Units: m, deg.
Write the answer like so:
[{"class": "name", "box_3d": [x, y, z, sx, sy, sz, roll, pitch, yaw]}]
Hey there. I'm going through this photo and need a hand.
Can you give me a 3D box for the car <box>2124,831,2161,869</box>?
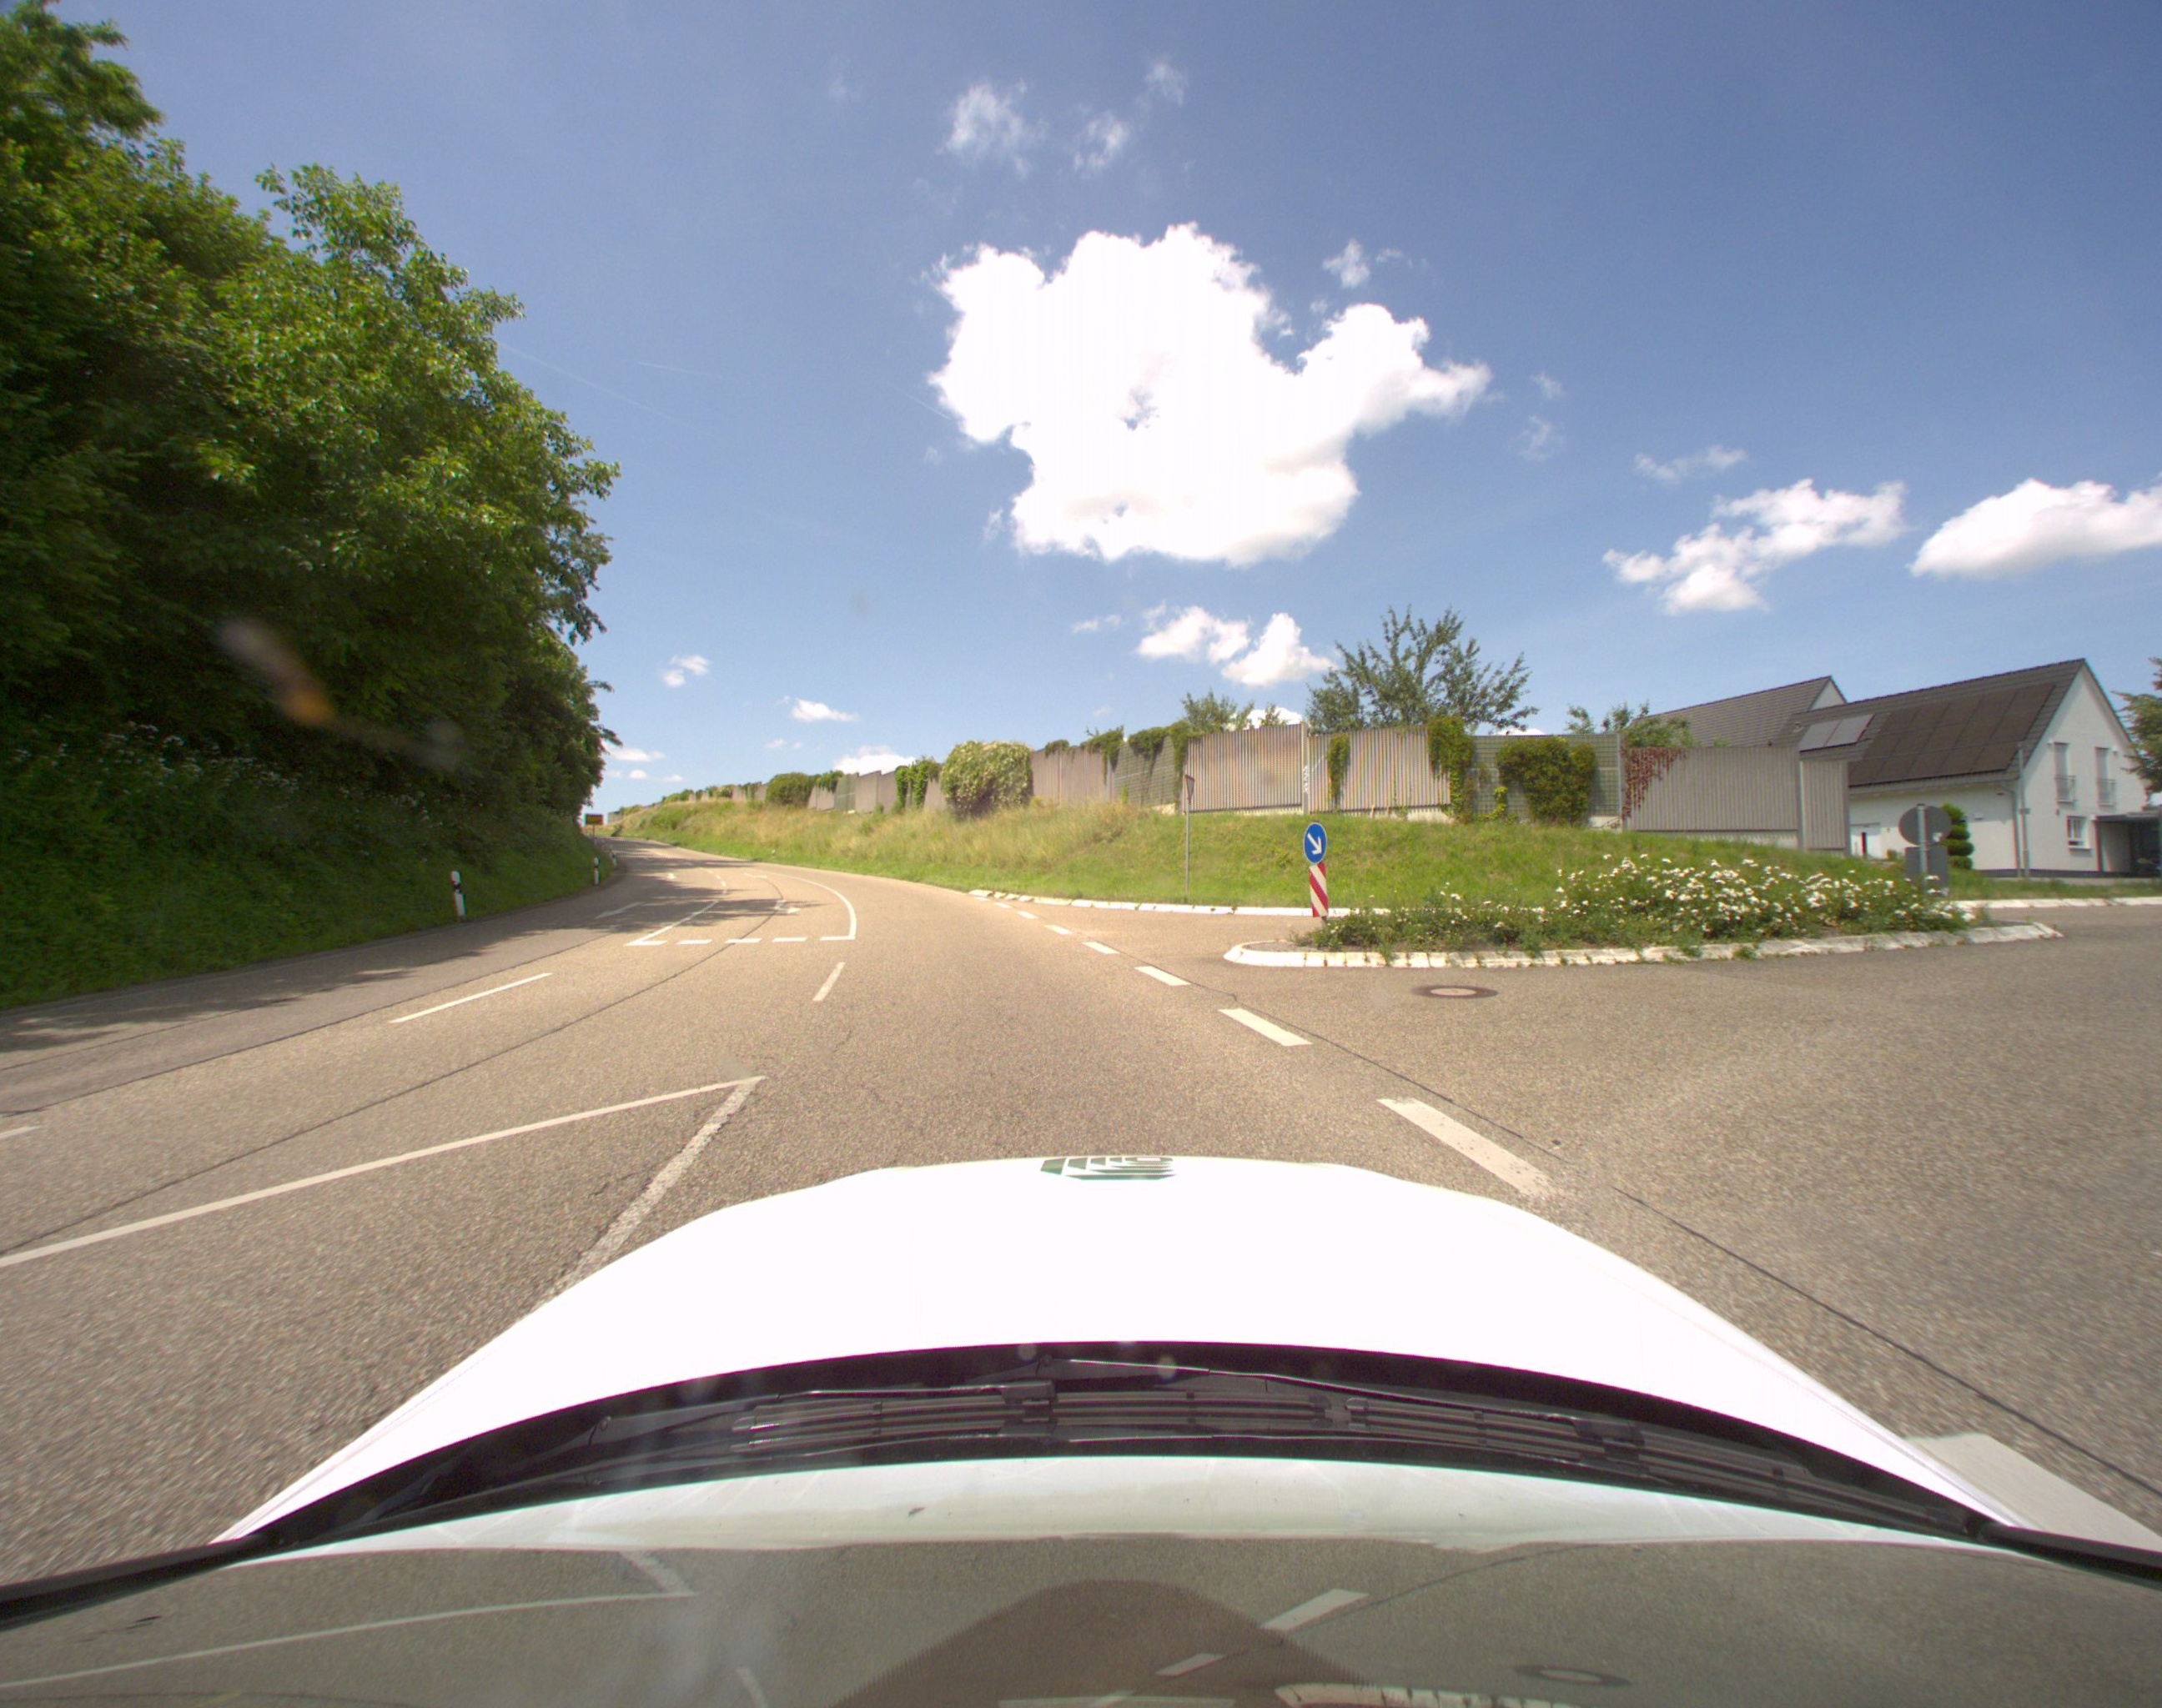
[{"class": "car", "box_3d": [42.479, -0.120, 31.302, 4.241, 1.405, 1.882, 2, 0, -22]}]
